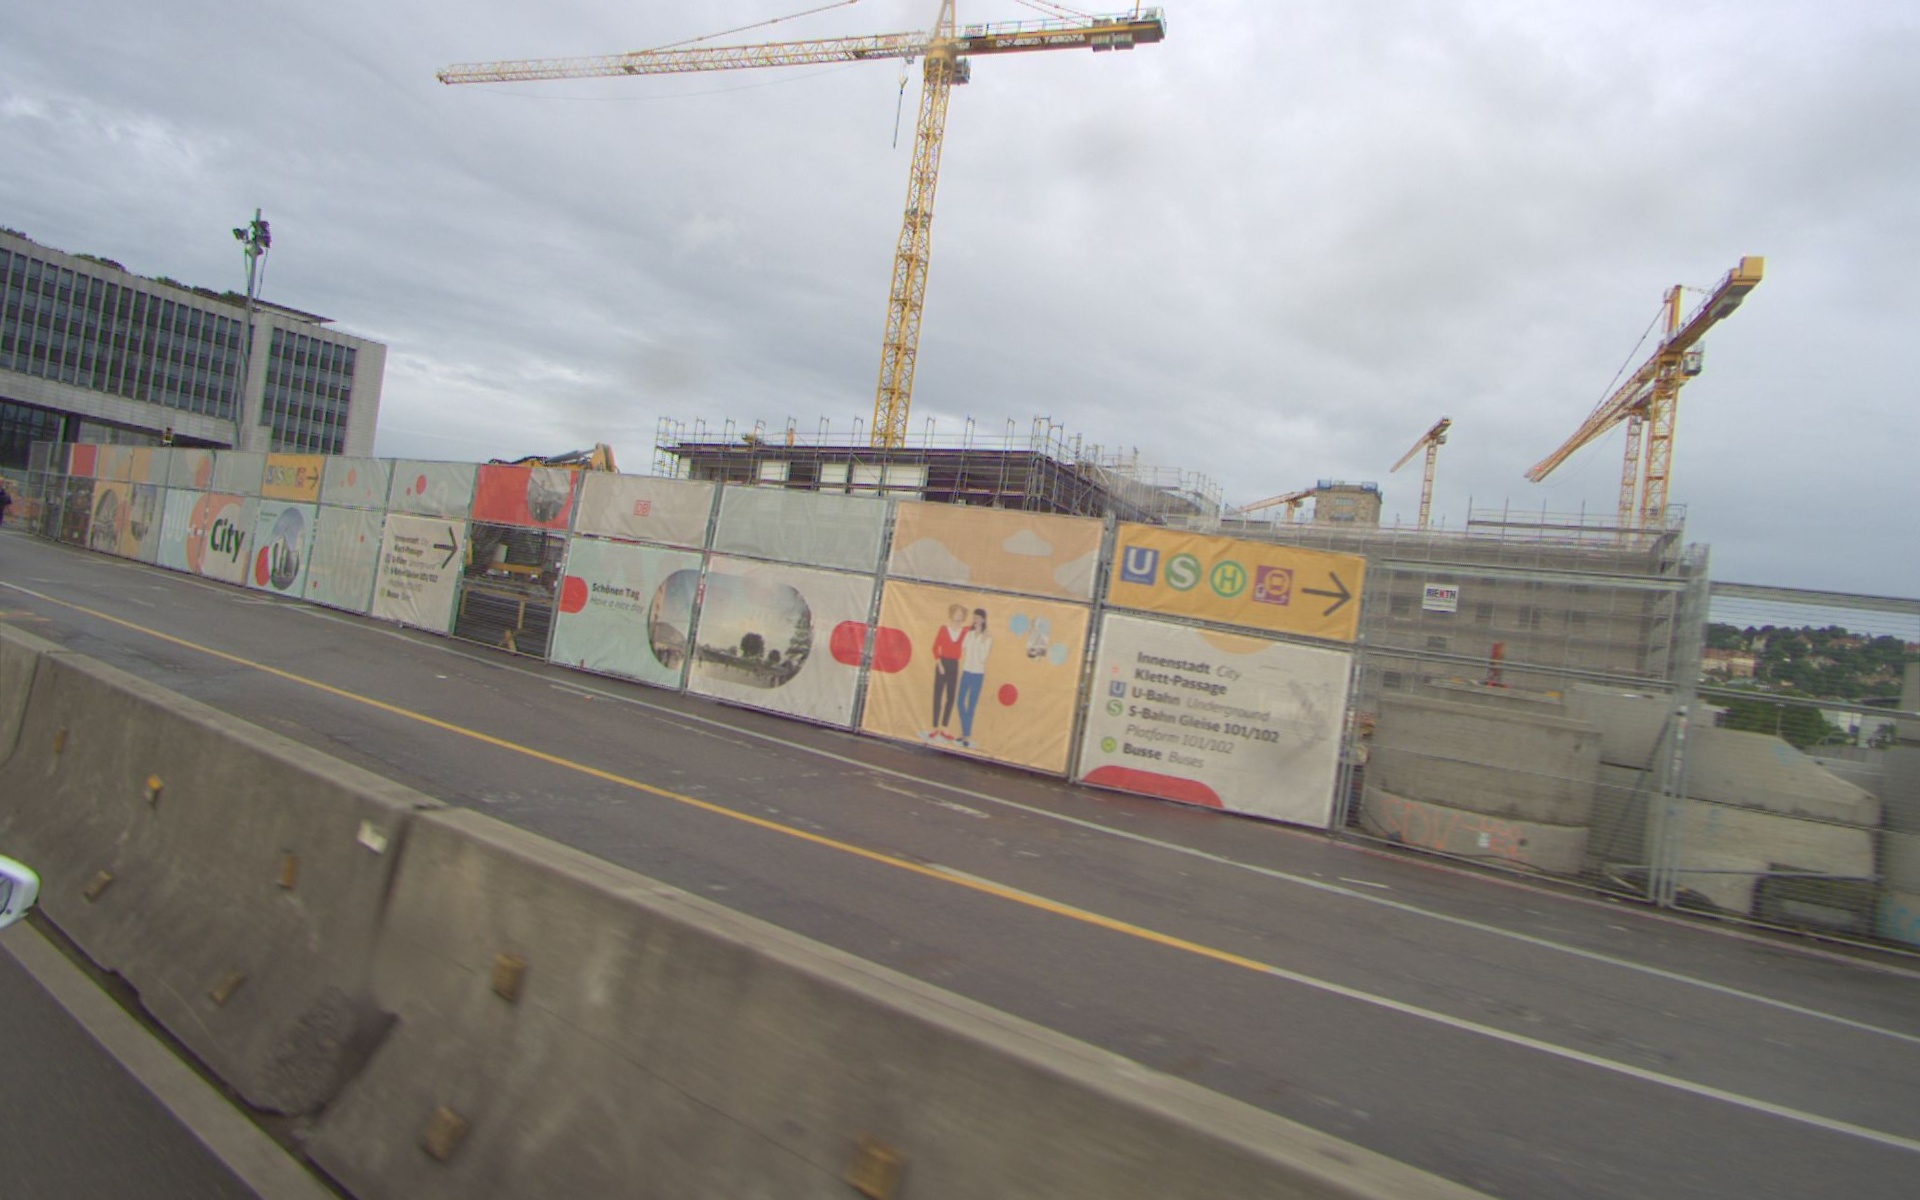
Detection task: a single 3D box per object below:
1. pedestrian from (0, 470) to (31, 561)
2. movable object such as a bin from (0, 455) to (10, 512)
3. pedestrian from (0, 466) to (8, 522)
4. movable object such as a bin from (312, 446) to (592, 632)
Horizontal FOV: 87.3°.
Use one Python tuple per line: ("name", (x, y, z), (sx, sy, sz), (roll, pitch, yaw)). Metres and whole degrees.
("pedestrian", (-20.427, -1.830, 21.201), (0.675, 1.855, 0.926), (8, -1, 35))
("movable object such as a bin", (-71.215, -8.742, 71.705), (3.626, 4.076, 3.101), (8, -1, 10))
("pedestrian", (-29.266, -3.075, 30.195), (0.675, 2.037, 0.680), (9, 0, 35))
("movable object such as a bin", (-11.940, -1.397, 23.771), (4.284, 3.534, 3.935), (8, -1, 32))
